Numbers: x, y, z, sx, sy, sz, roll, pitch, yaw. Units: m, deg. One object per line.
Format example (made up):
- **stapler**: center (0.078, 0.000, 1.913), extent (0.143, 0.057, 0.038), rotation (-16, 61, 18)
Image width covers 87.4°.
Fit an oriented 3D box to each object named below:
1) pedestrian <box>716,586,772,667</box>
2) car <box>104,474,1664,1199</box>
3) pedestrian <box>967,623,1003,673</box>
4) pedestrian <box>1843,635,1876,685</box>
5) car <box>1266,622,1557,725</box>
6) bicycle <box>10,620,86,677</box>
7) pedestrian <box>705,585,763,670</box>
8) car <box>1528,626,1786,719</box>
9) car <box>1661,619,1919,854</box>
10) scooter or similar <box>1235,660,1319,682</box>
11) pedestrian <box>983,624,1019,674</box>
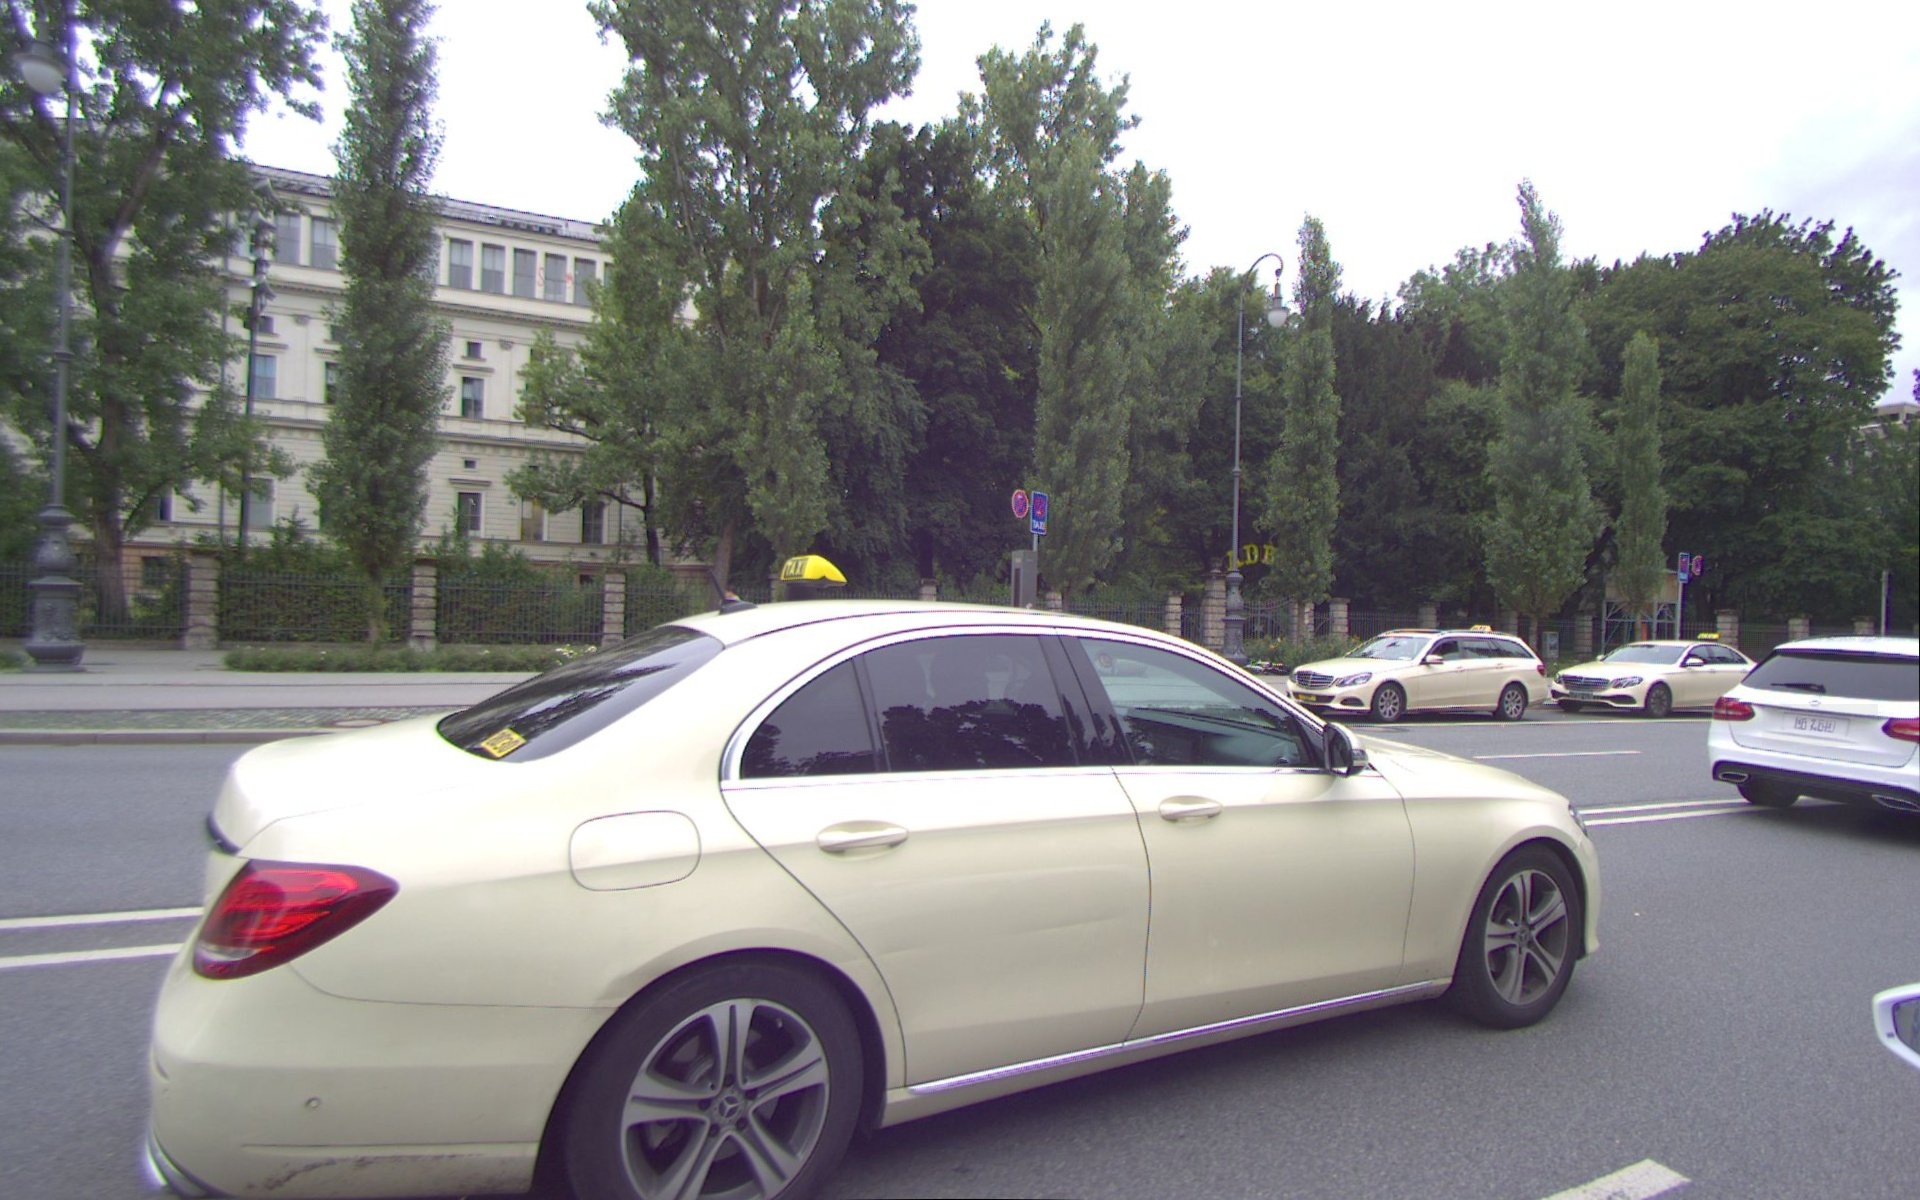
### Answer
- **pedestrian**: center (-4.661, 0.579, 21.665), extent (0.954, 1.700, 0.841), rotation (2, -1, -27)
- **car**: center (0.209, 0.659, 3.583), extent (4.633, 1.596, 1.906), rotation (3, 1, -29)
- **pedestrian**: center (0.705, 1.346, 28.222), extent (0.568, 1.355, 0.836), rotation (1, -1, 40)
- **pedestrian**: center (31.766, 2.117, 35.485), extent (0.776, 1.743, 0.581), rotation (2, 0, -24)
- **car**: center (7.740, 1.262, 17.155), extent (4.791, 1.579, 1.814), rotation (3, -3, -24)
- **bicycle**: center (-18.797, 0.984, 20.698), extent (1.708, 1.078, 0.635), rotation (1, -1, 30)
- **pedestrian**: center (-4.669, 0.572, 20.761), extent (0.954, 1.700, 0.841), rotation (2, -1, -27)
- **car**: center (13.846, 1.441, 19.924), extent (4.896, 1.645, 1.933), rotation (3, -2, -24)
- **car**: center (8.058, 0.998, 8.098), extent (4.518, 1.474, 1.821), rotation (3, 0, -23)
- **scooter or similar**: center (9.413, 2.091, 29.773), extent (2.195, 0.525, 1.331), rotation (1, -1, 27)
- **pedestrian**: center (1.125, 1.340, 27.693), extent (0.569, 1.355, 0.836), rotation (1, -1, 41)
